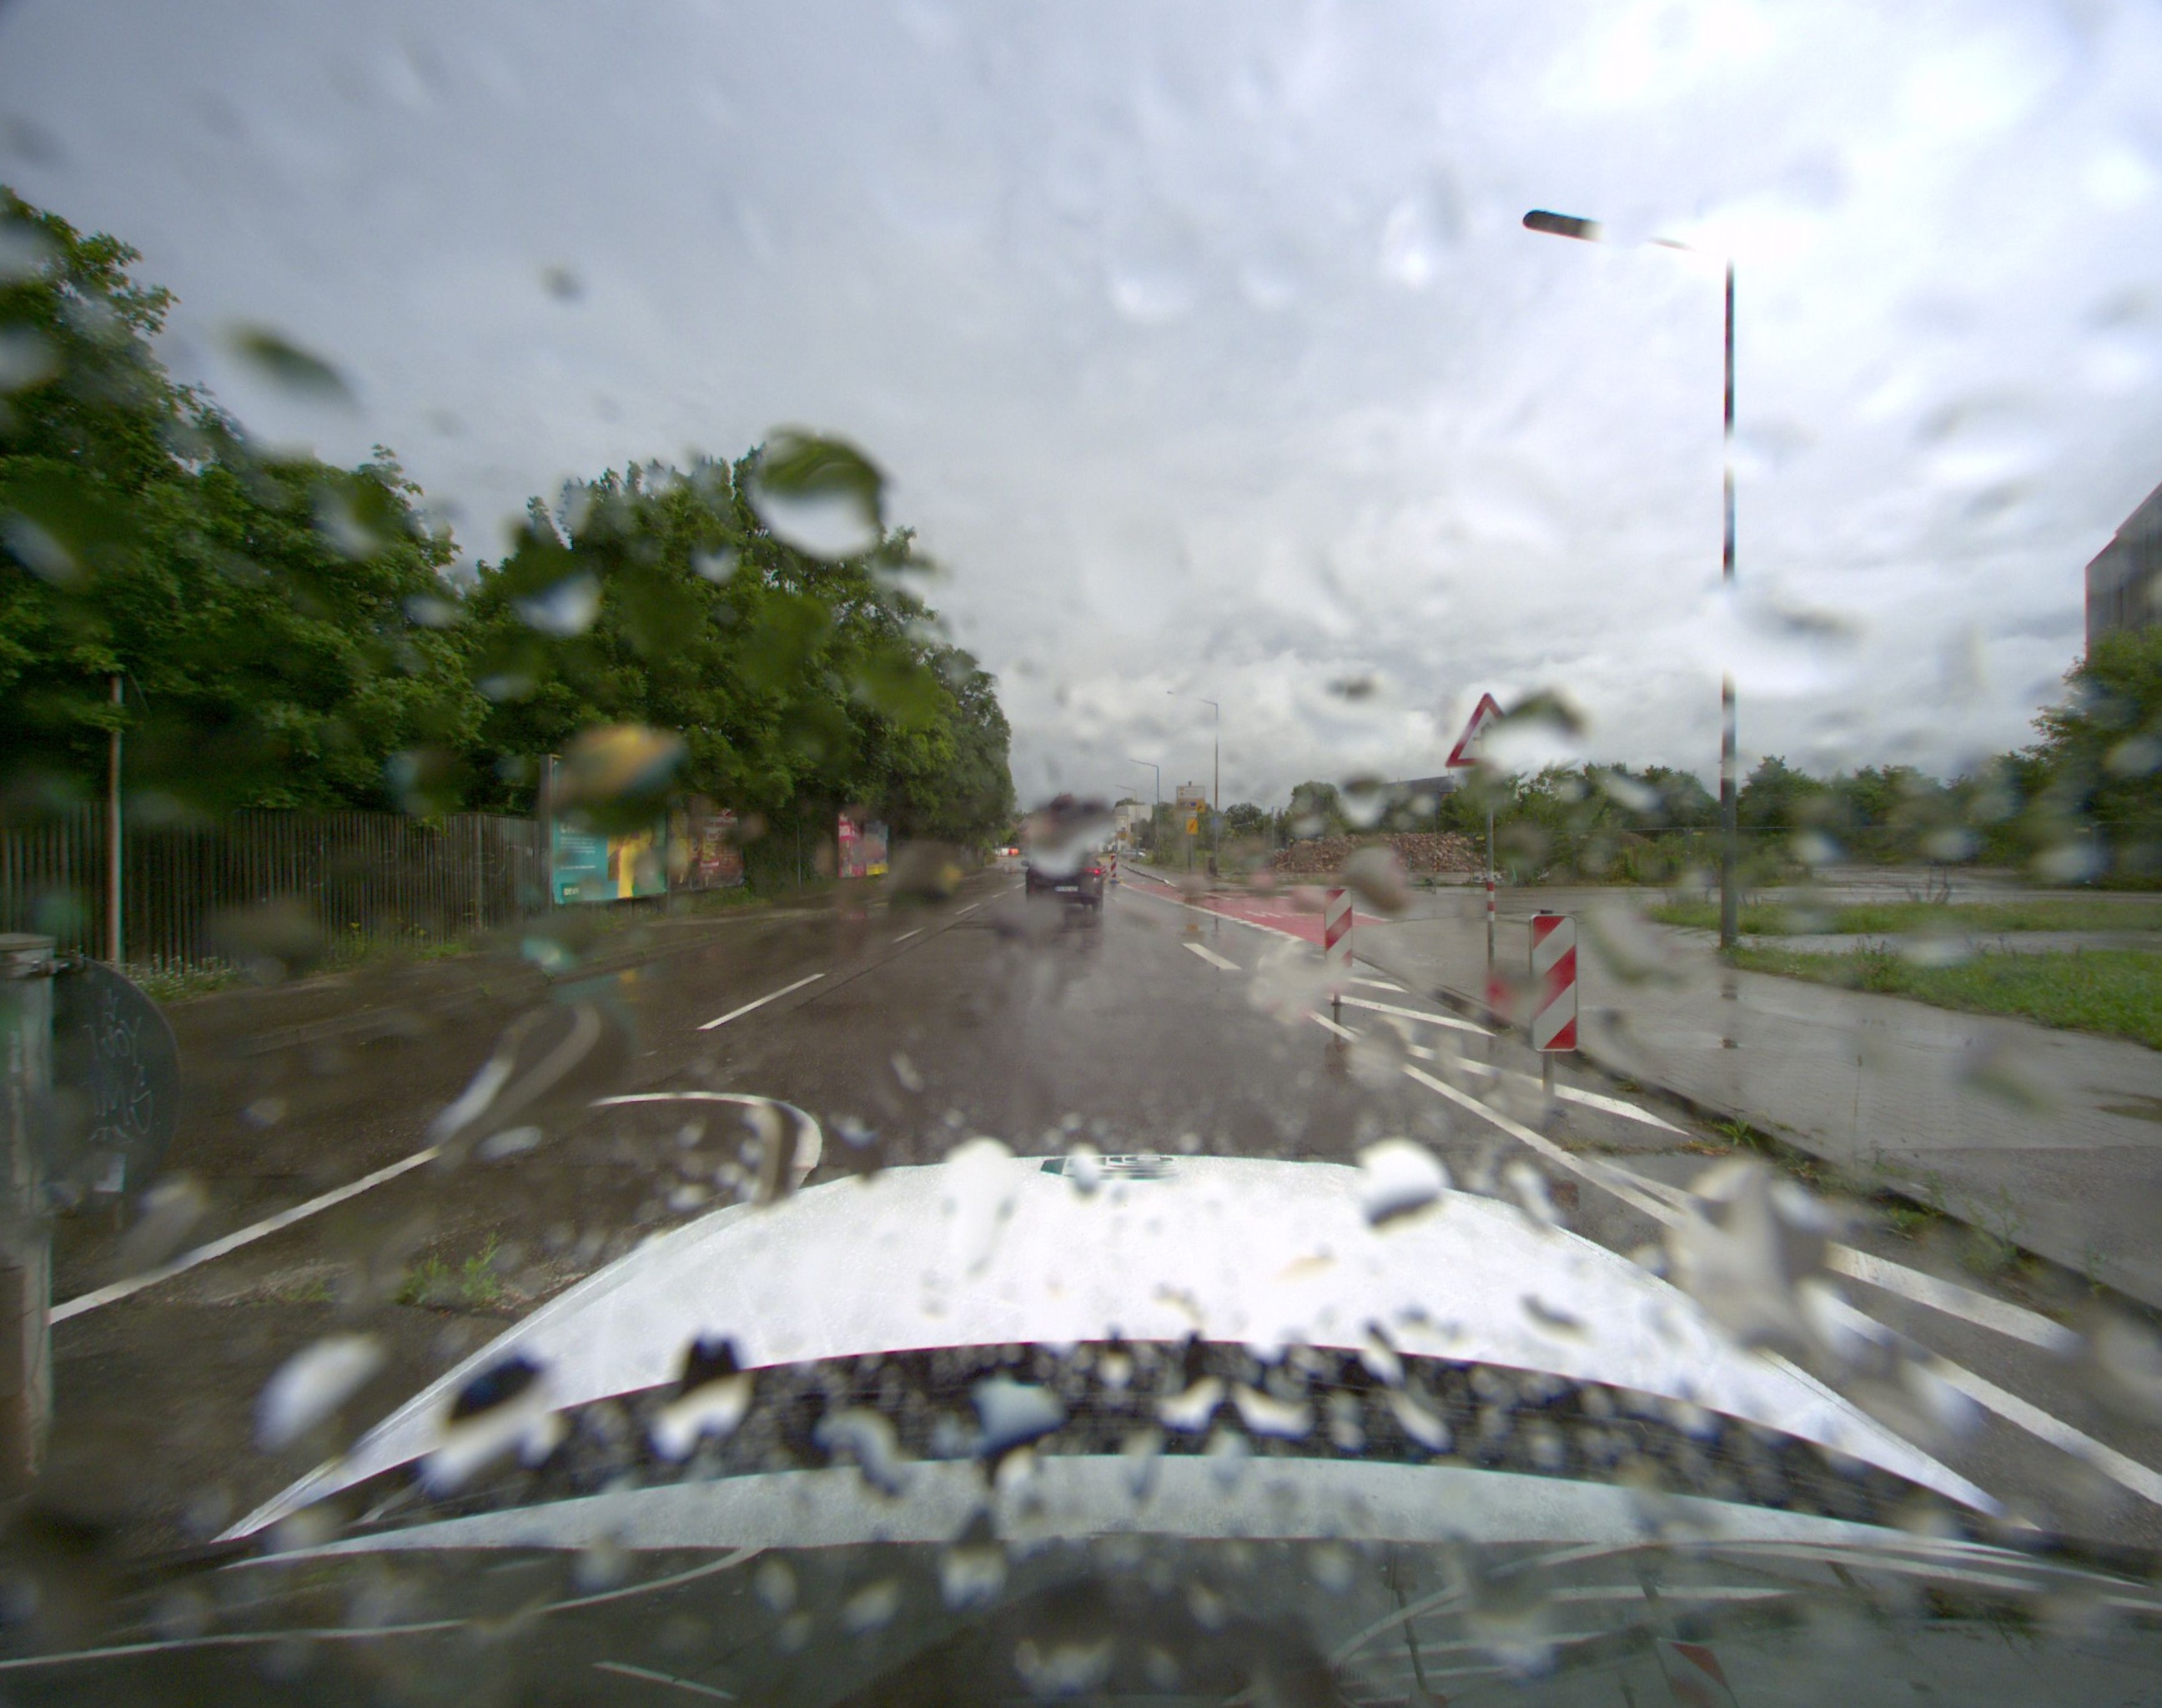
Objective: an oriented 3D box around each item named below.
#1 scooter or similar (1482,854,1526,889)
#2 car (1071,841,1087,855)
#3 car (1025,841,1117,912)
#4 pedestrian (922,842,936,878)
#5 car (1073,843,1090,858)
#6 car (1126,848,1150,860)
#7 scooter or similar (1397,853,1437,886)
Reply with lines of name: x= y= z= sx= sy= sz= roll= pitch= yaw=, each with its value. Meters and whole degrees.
scooter or similar: x=15.439 y=0.639 z=29.735 sx=1.268 sy=1.187 sz=0.506 roll=3 pitch=3 yaw=41
car: x=-0.304 y=-0.795 z=104.180 sx=1.990 sy=1.702 sz=4.015 roll=-1 pitch=0 yaw=-1
car: x=-0.351 y=0.501 z=20.026 sx=1.983 sy=1.520 sz=3.993 roll=-1 pitch=0 yaw=-5
pedestrian: x=-7.412 y=0.284 z=39.680 sx=0.522 sy=1.701 sz=0.566 roll=2 pitch=2 yaw=0
car: x=0.031 y=-0.393 z=94.130 sx=1.835 sy=1.641 sz=4.015 roll=-1 pitch=0 yaw=0
car: x=9.482 y=-0.063 z=135.327 sx=3.971 sy=1.899 sz=1.827 roll=-1 pitch=0 yaw=2
scooter or similar: x=12.775 y=0.575 z=31.000 sx=1.268 sy=1.187 sz=0.506 roll=3 pitch=3 yaw=41
